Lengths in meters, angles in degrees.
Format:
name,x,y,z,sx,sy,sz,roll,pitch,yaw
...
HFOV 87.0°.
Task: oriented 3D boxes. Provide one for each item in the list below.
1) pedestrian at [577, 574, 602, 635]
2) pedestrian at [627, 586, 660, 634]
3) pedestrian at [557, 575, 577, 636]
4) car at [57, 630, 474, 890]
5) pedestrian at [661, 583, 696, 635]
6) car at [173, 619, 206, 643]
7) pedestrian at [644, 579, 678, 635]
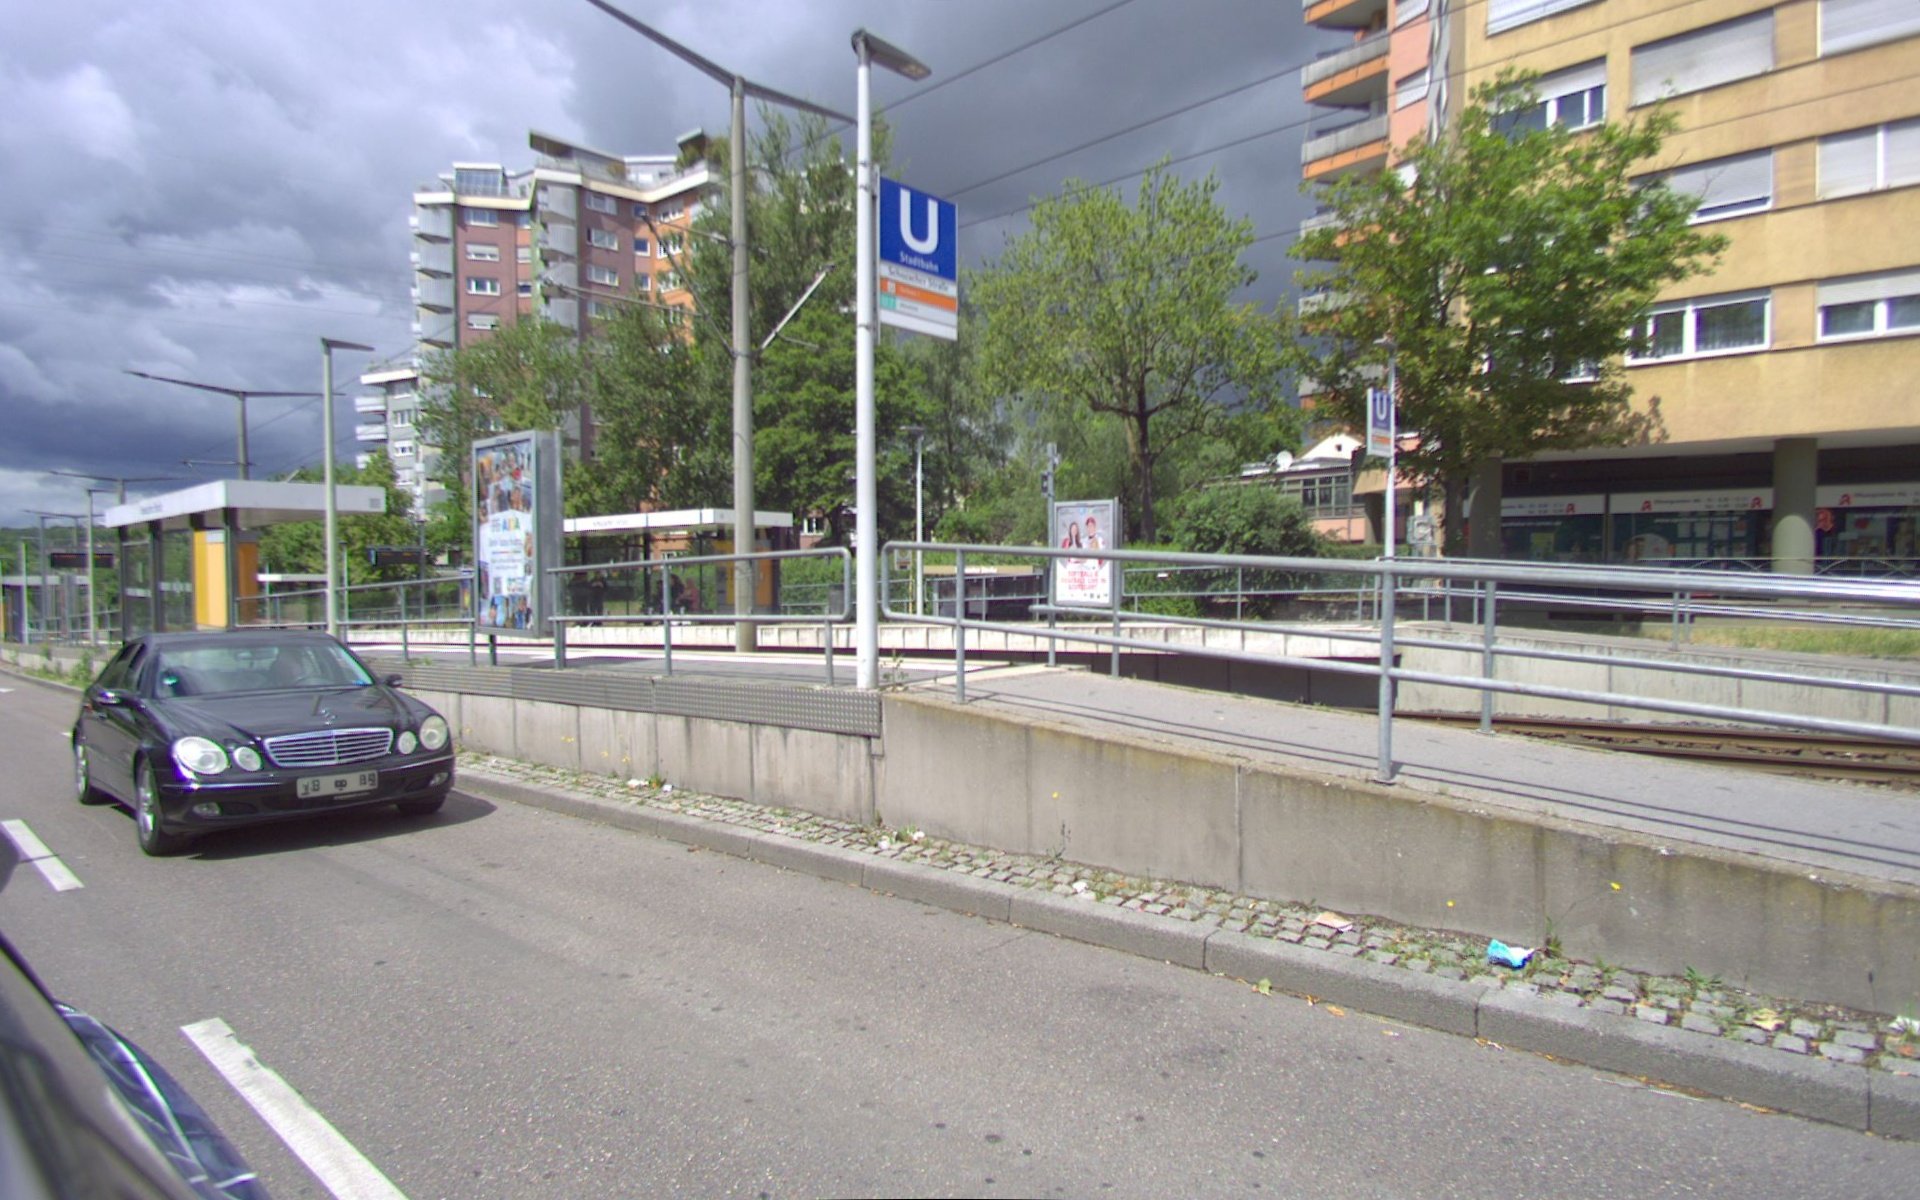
name,x,y,z,sx,sy,sz,roll,pitch,yaw
pedestrian,-10.637,0.131,29.053,0.544,1.726,0.386,-1,-1,-2
pedestrian,-8.525,0.274,27.265,0.463,1.287,0.703,-2,-1,41
pedestrian,-11.167,0.157,28.782,0.421,1.726,0.353,-1,-1,-1
car,-5.440,0.956,7.704,4.066,1.396,1.797,-2,-1,43
pedestrian,-7.201,0.229,25.897,0.463,1.287,0.703,-2,-1,41
car,-69.630,2.794,91.407,4.000,2.029,1.714,-2,-1,43
pedestrian,-7.820,0.179,26.458,0.463,1.428,0.703,-2,-1,41
